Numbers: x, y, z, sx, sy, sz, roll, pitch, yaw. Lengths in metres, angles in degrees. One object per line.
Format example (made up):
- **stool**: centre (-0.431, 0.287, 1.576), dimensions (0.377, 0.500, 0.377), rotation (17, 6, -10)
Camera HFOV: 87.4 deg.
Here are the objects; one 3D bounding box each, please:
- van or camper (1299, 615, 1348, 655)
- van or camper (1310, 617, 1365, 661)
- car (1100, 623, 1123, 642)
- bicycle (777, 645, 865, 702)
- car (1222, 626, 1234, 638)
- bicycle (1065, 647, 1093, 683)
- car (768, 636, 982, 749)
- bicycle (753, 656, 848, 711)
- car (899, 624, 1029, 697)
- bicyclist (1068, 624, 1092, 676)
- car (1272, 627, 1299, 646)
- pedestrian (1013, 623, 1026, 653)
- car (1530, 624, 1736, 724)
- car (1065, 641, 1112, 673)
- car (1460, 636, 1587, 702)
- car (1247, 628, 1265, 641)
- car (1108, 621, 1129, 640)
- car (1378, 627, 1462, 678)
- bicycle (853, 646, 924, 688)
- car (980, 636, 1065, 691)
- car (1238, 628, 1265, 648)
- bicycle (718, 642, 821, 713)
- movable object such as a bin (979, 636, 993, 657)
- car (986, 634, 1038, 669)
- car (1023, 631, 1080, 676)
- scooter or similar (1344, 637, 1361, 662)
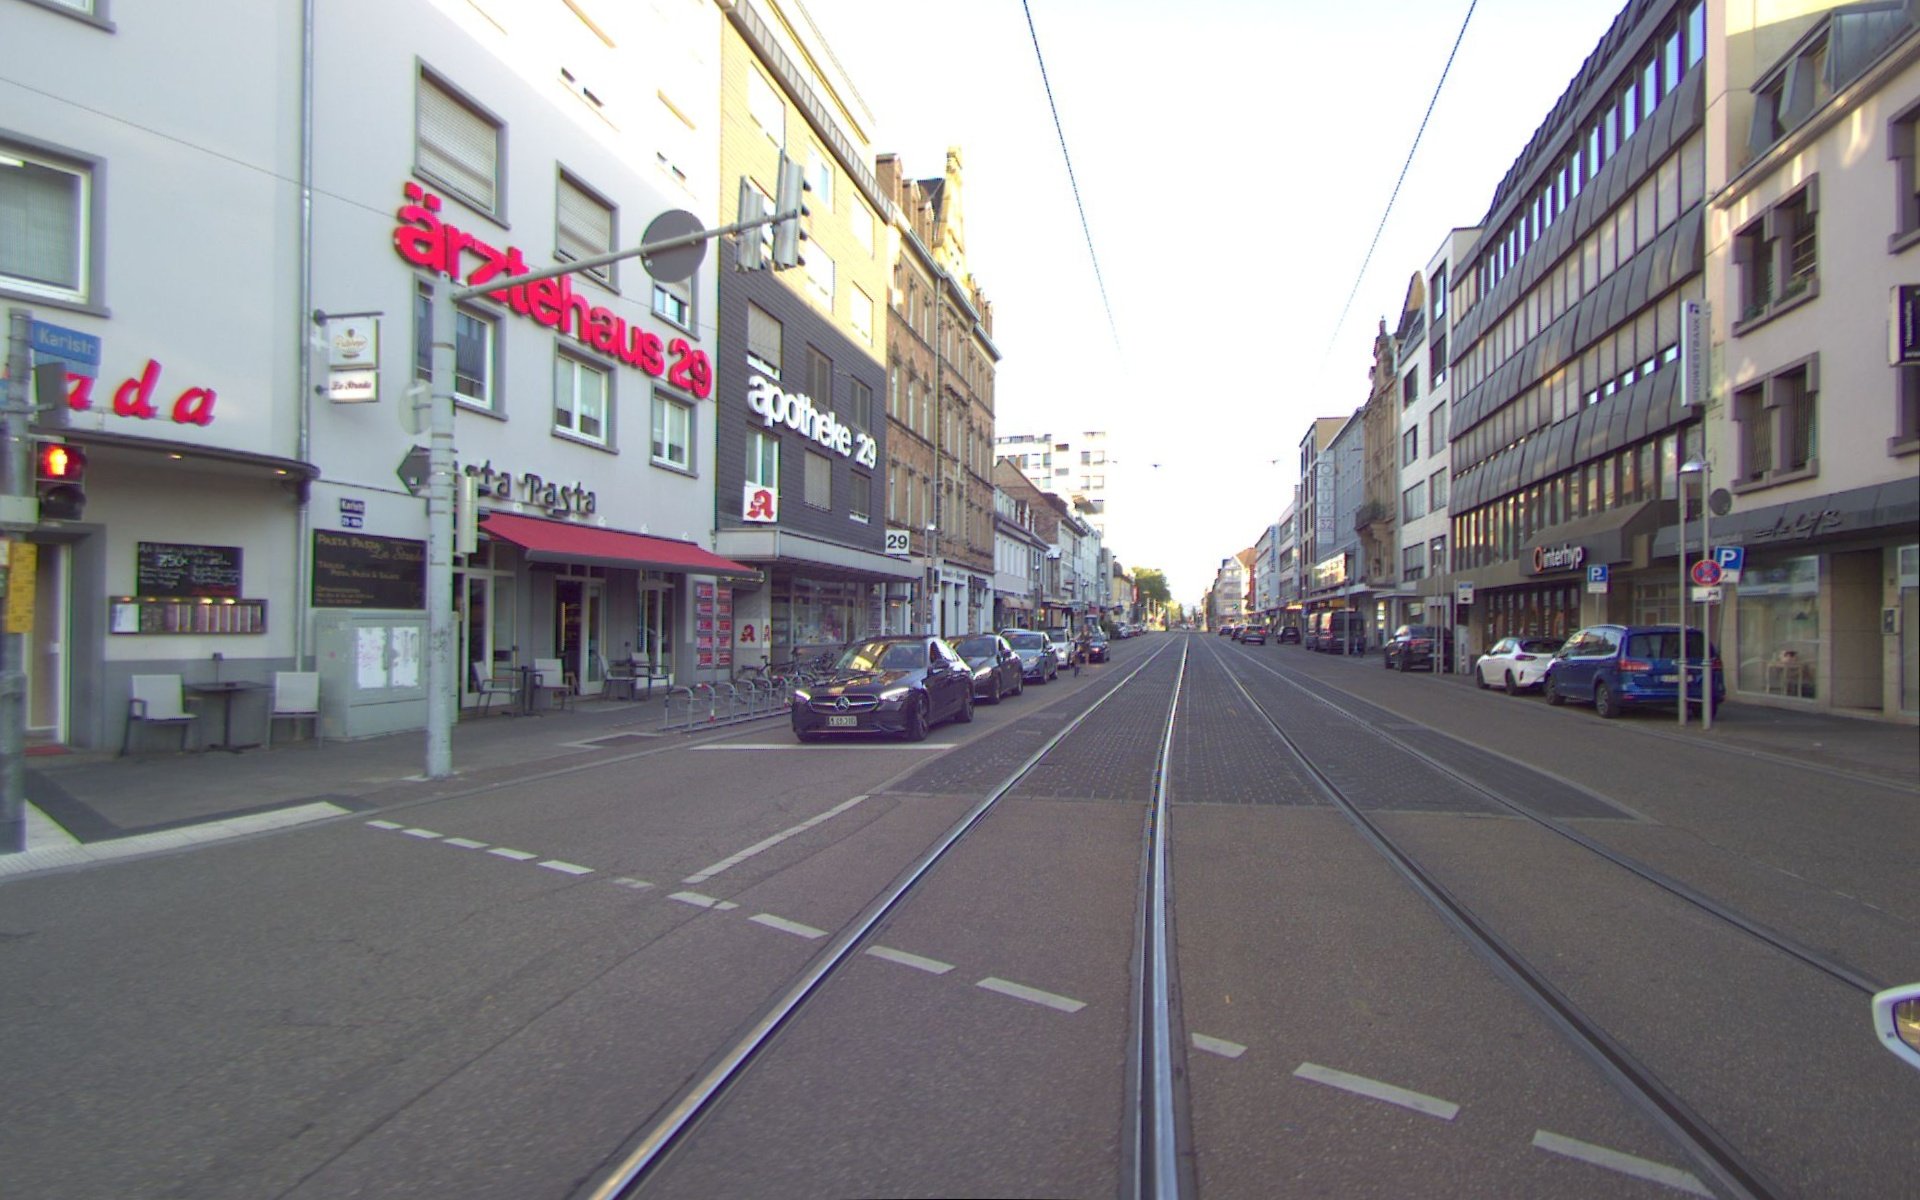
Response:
- **van or camper**: centre (24.076, 2.337, 66.716), dimensions (2.151, 2.458, 5.522), rotation (-2, -2, 11)
- **van or camper**: centre (22.669, 2.320, 60.512), dimensions (2.151, 2.458, 6.137), rotation (-2, -2, 12)
- **car**: centre (15.706, 3.392, 104.006), dimensions (1.884, 1.786, 4.433), rotation (3, -1, 13)
- **bicycle**: centre (-3.123, 1.637, 22.602), dimensions (1.824, 1.149, 0.608), rotation (3, -1, 13)
- **car**: centre (49.333, 5.926, 184.885), dimensions (1.911, 2.174, 4.547), rotation (-2, -2, 13)
- **bicycle**: centre (3.752, 2.029, 31.527), dimensions (0.681, 1.047, 2.083), rotation (0, -2, 11)
- **car**: centre (-1.073, 1.285, 15.180), dimensions (1.882, 1.404, 4.566), rotation (-2, -2, 13)
- **bicycle**: centre (-3.363, 1.748, 21.194), dimensions (1.824, 0.996, 0.608), rotation (3, -1, 13)
- **car**: centre (0.213, 1.294, 22.423), dimensions (1.882, 1.404, 4.566), rotation (-2, -2, 13)
- **bicyclist**: centre (3.787, 1.565, 31.639), dimensions (0.681, 1.586, 0.800), rotation (0, -1, 11)
- **car**: centre (28.752, 3.210, 88.816), dimensions (1.911, 1.565, 4.547), rotation (-2, -2, 13)
- **pedestrian**: centre (3.676, 2.335, 62.235), dimensions (0.637, 1.796, 0.855), rotation (2, -1, 13)
- **car**: centre (13.261, 1.408, 20.180), dimensions (1.882, 1.739, 4.566), rotation (-2, -2, 13)
- **car**: centre (5.608, 2.433, 43.454), dimensions (1.639, 1.244, 4.277), rotation (-2, -2, 12)
- **car**: centre (14.448, 1.730, 25.994), dimensions (1.736, 1.504, 3.875), rotation (-2, -2, 12)
- **car**: centre (37.212, 4.292, 126.212), dimensions (1.911, 1.565, 4.547), rotation (-2, -2, 13)
- **car**: centre (17.690, 3.390, 111.741), dimensions (1.884, 1.961, 4.845), rotation (3, -1, 13)
- **car**: centre (17.230, 1.936, 37.882), dimensions (1.950, 1.757, 4.674), rotation (-2, -2, 13)
- **bicycle**: centre (-1.950, 1.815, 27.275), dimensions (1.824, 0.996, 0.463), rotation (3, -1, 13)
- **car**: centre (1.869, 1.752, 28.657), dimensions (1.728, 1.404, 4.064), rotation (-2, -2, 13)
- **car**: centre (24.350, 3.168, 83.940), dimensions (1.910, 1.565, 4.547), rotation (1, -1, 13)
- **bicycle**: centre (-3.748, 1.513, 19.798), dimensions (1.824, 1.243, 0.608), rotation (3, -1, 13)
- **movable object such as a bin**: centre (1.403, 2.497, 54.035), dimensions (0.580, 1.146, 0.729), rotation (0, -1, 13)
- **car**: centre (2.398, 2.281, 45.593), dimensions (1.729, 1.408, 4.277), rotation (3, -1, 11)
- **car**: centre (3.442, 1.955, 37.371), dimensions (1.639, 1.525, 3.683), rotation (-2, -2, 12)
- **scooter or similar**: centre (20.479, 2.581, 52.389), dimensions (1.108, 1.240, 0.350), rotation (0, -3, -45)
